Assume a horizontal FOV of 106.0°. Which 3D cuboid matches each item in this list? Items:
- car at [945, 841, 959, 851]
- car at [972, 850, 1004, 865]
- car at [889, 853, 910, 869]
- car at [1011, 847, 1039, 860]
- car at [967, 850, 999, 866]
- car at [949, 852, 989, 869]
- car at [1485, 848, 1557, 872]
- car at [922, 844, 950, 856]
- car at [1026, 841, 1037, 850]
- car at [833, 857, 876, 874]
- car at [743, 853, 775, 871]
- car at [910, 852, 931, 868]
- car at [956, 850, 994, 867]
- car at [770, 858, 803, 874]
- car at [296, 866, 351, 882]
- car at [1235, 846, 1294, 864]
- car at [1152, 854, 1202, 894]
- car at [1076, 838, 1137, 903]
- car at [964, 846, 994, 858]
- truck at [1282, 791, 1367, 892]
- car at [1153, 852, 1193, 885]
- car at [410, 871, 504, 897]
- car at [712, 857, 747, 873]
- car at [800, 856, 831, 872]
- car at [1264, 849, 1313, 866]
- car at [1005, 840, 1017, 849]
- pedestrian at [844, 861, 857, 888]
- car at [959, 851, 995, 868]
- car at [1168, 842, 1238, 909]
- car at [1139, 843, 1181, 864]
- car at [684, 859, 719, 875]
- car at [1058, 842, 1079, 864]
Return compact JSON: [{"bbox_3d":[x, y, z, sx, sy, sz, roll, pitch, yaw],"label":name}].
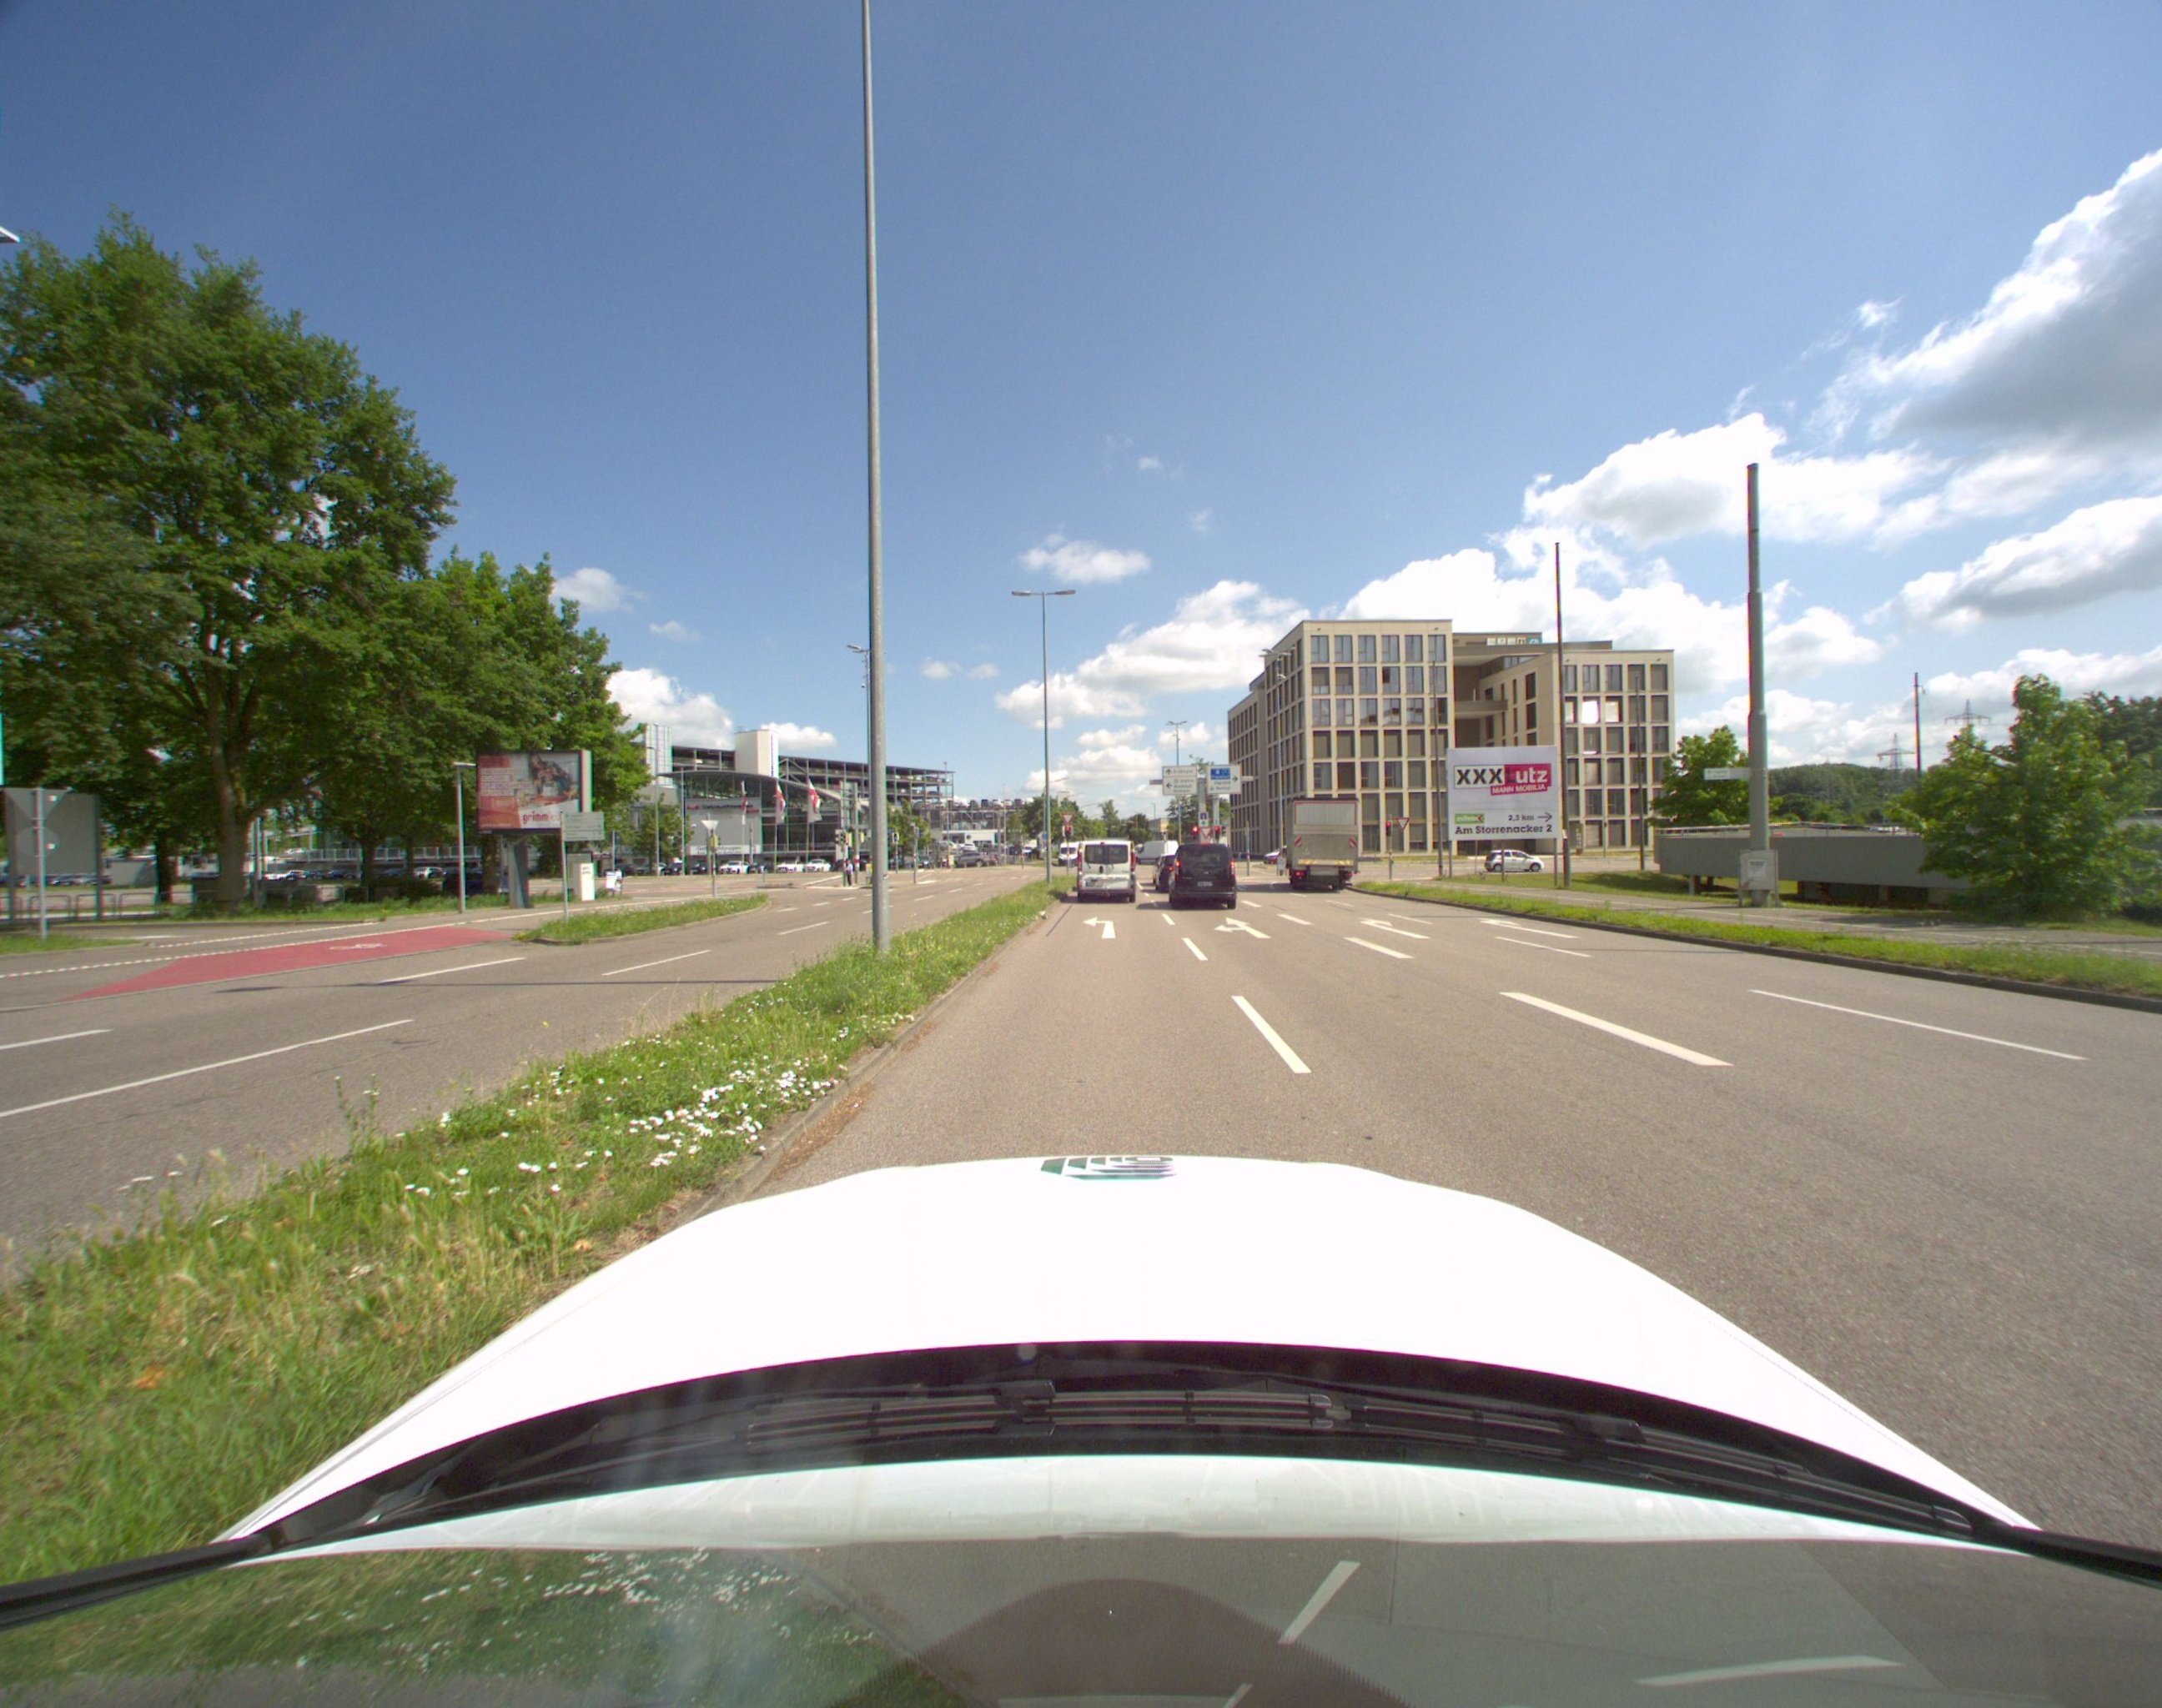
[{"bbox_3d":[-22.034,-1.386,139.448,1.841,1.530,3.997,-1,1,-2],"label":"car"},{"bbox_3d":[-11.855,0.428,103.781,3.902,1.712,1.688,-2,1,-2],"label":"car"},{"bbox_3d":[-17.909,0.645,80.168,1.820,1.552,3.980,0,0,-15],"label":"car"},{"bbox_3d":[-8.037,-0.068,116.956,3.980,1.926,1.824,0,0,-5],"label":"car"},{"bbox_3d":[-11.536,0.491,95.797,3.499,1.712,1.602,-2,1,-2],"label":"car"},{"bbox_3d":[-11.723,0.645,85.528,3.851,1.639,1.857,-2,1,-2],"label":"car"},{"bbox_3d":[28.897,0.374,53.580,3.837,1.466,1.696,0,1,1],"label":"car"},{"bbox_3d":[-22.253,-0.599,124.997,4.157,1.713,1.686,0,0,-4],"label":"car"},{"bbox_3d":[-8.341,-1.412,137.990,1.841,1.530,3.997,-1,1,-2],"label":"car"},{"bbox_3d":[-22.163,1.109,79.776,3.784,1.513,1.677,-1,1,-4],"label":"car"},{"bbox_3d":[-31.472,0.718,79.669,1.752,1.660,3.614,0,1,-2],"label":"car"},{"bbox_3d":[-15.926,0.556,80.763,1.820,1.552,3.980,0,0,-15],"label":"car"},{"bbox_3d":[-11.473,0.495,88.185,3.902,1.712,1.688,-2,1,-2],"label":"car"},{"bbox_3d":[-28.764,1.168,79.726,1.902,1.376,3.750,0,1,-2],"label":"car"},{"bbox_3d":[-71.904,1.887,77.371,1.691,1.390,3.733,0,0,2],"label":"car"},{"bbox_3d":[16.998,0.041,75.545,4.968,1.607,1.999,0,1,-1],"label":"car"},{"bbox_3d":[3.852,0.779,33.178,1.733,1.495,4.003,0,0,3],"label":"car"},{"bbox_3d":[0.924,0.511,27.032,1.847,2.018,4.004,0,0,4],"label":"car"},{"bbox_3d":[-14.518,-0.264,116.424,4.157,1.712,1.686,1,1,-4],"label":"car"},{"bbox_3d":[10.616,-0.503,36.349,3.108,3.940,8.890,0,0,13],"label":"truck"},{"bbox_3d":[4.525,0.695,40.329,1.733,1.543,4.003,0,0,3],"label":"car"},{"bbox_3d":[-37.709,1.831,49.281,3.982,1.510,1.995,0,-3,-6],"label":"car"},{"bbox_3d":[-34.197,1.062,79.408,1.874,1.486,3.699,0,1,-2],"label":"car"},{"bbox_3d":[-26.089,1.009,80.141,1.771,1.450,4.027,0,1,-2],"label":"car"},{"bbox_3d":[18.214,0.288,71.630,3.880,1.490,1.795,0,1,1],"label":"car"},{"bbox_3d":[-11.811,-1.558,137.887,1.841,1.530,3.997,-1,1,-2],"label":"car"},{"bbox_3d":[-13.049,1.142,46.154,0.465,1.512,0.515,0,0,27],"label":"pedestrian"},{"bbox_3d":[-11.833,0.627,92.654,3.902,1.712,1.688,-2,1,-2],"label":"car"},{"bbox_3d":[3.494,0.572,23.961,1.811,1.809,4.006,0,0,5],"label":"car"},{"bbox_3d":[8.812,-0.122,91.097,2.005,2.255,5.465,-1,1,-28],"label":"car"},{"bbox_3d":[-37.021,1.227,79.440,1.723,1.486,3.699,0,1,-2],"label":"car"},{"bbox_3d":[-1.331,-0.124,88.094,1.963,2.256,4.984,-2,1,2],"label":"car"}]
